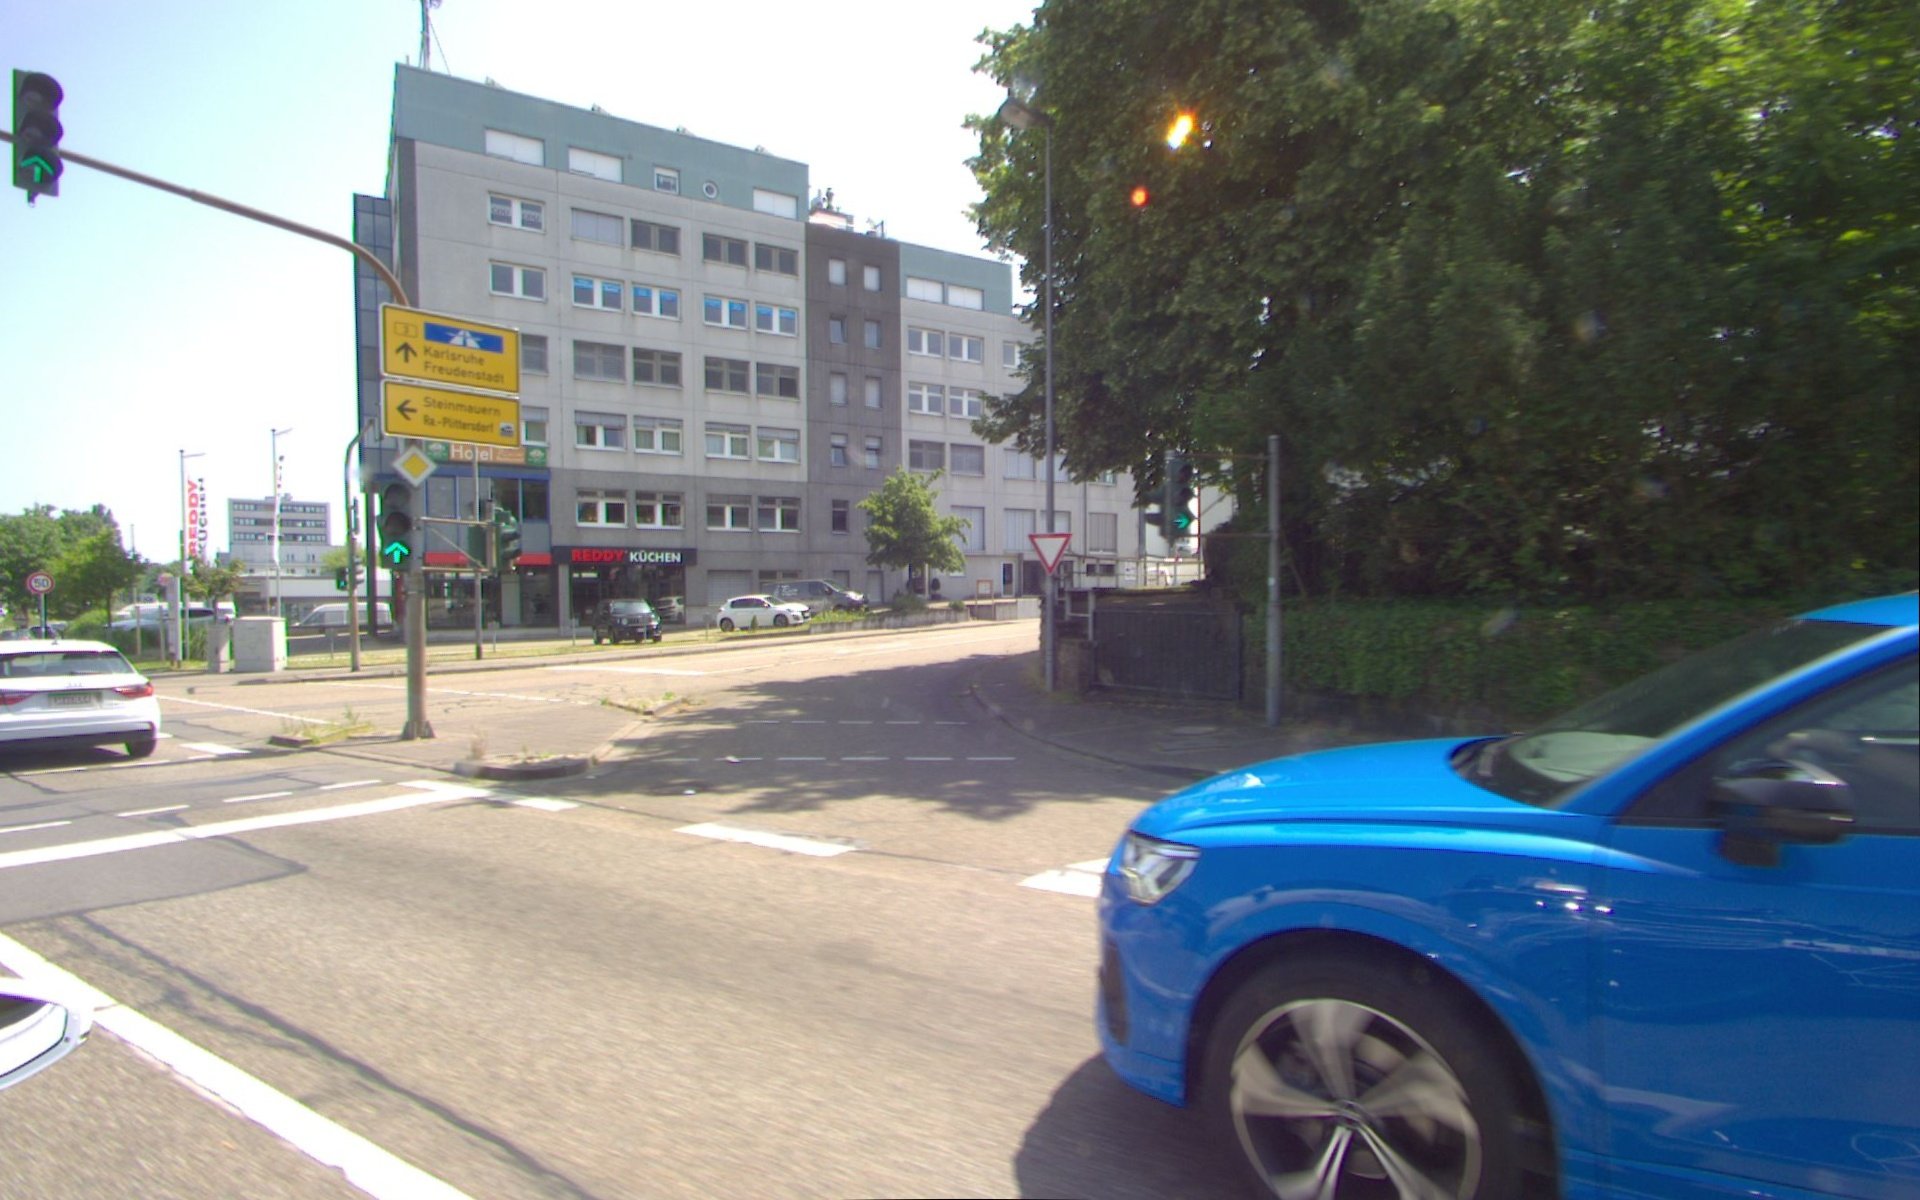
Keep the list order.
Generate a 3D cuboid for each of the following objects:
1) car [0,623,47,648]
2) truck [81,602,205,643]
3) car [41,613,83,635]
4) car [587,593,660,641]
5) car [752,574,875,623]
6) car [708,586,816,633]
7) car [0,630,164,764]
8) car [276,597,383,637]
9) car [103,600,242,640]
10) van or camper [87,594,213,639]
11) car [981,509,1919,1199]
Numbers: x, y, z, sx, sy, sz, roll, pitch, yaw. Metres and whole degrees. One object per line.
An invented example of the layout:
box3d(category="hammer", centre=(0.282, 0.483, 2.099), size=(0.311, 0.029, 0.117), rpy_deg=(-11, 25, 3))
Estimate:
box3d(category="car", centre=(-56.272, 2.100, 60.103), size=(1.782, 1.424, 4.287), rpy_deg=(1, -1, -38))
box3d(category="truck", centre=(-54.517, 1.445, 67.047), size=(6.184, 2.369, 2.351), rpy_deg=(-2, 2, -35))
box3d(category="car", centre=(-74.443, 1.983, 83.080), size=(1.942, 1.551, 5.123), rpy_deg=(-4, 3, -36))
box3d(category="car", centre=(-12.641, 0.620, 37.444), size=(1.523, 1.697, 4.302), rpy_deg=(-1, 0, -34))
box3d(category="car", centre=(-6.509, -0.044, 44.629), size=(5.096, 2.063, 1.890), rpy_deg=(0, -2, 15))
box3d(category="car", centre=(-8.364, 0.415, 42.394), size=(4.150, 1.550, 1.543), rpy_deg=(-5, -4, 14))
box3d(category="car", centre=(-11.415, 1.081, 12.236), size=(3.742, 1.417, 1.663), rpy_deg=(-1, -1, 35))
box3d(category="car", centre=(-41.280, 1.143, 65.650), size=(5.827, 2.561, 2.107), rpy_deg=(1, -1, -34))
box3d(category="car", centre=(-36.470, 0.947, 46.513), size=(1.969, 1.735, 4.722), rpy_deg=(-1, -2, 28))
box3d(category="van or camper", centre=(-57.058, 1.134, 70.778), size=(6.735, 2.937, 2.258), rpy_deg=(-2, 2, -37))
box3d(category="car", centre=(2.387, 0.640, 2.426), size=(4.334, 1.618, 1.908), rpy_deg=(-1, 1, 34))
